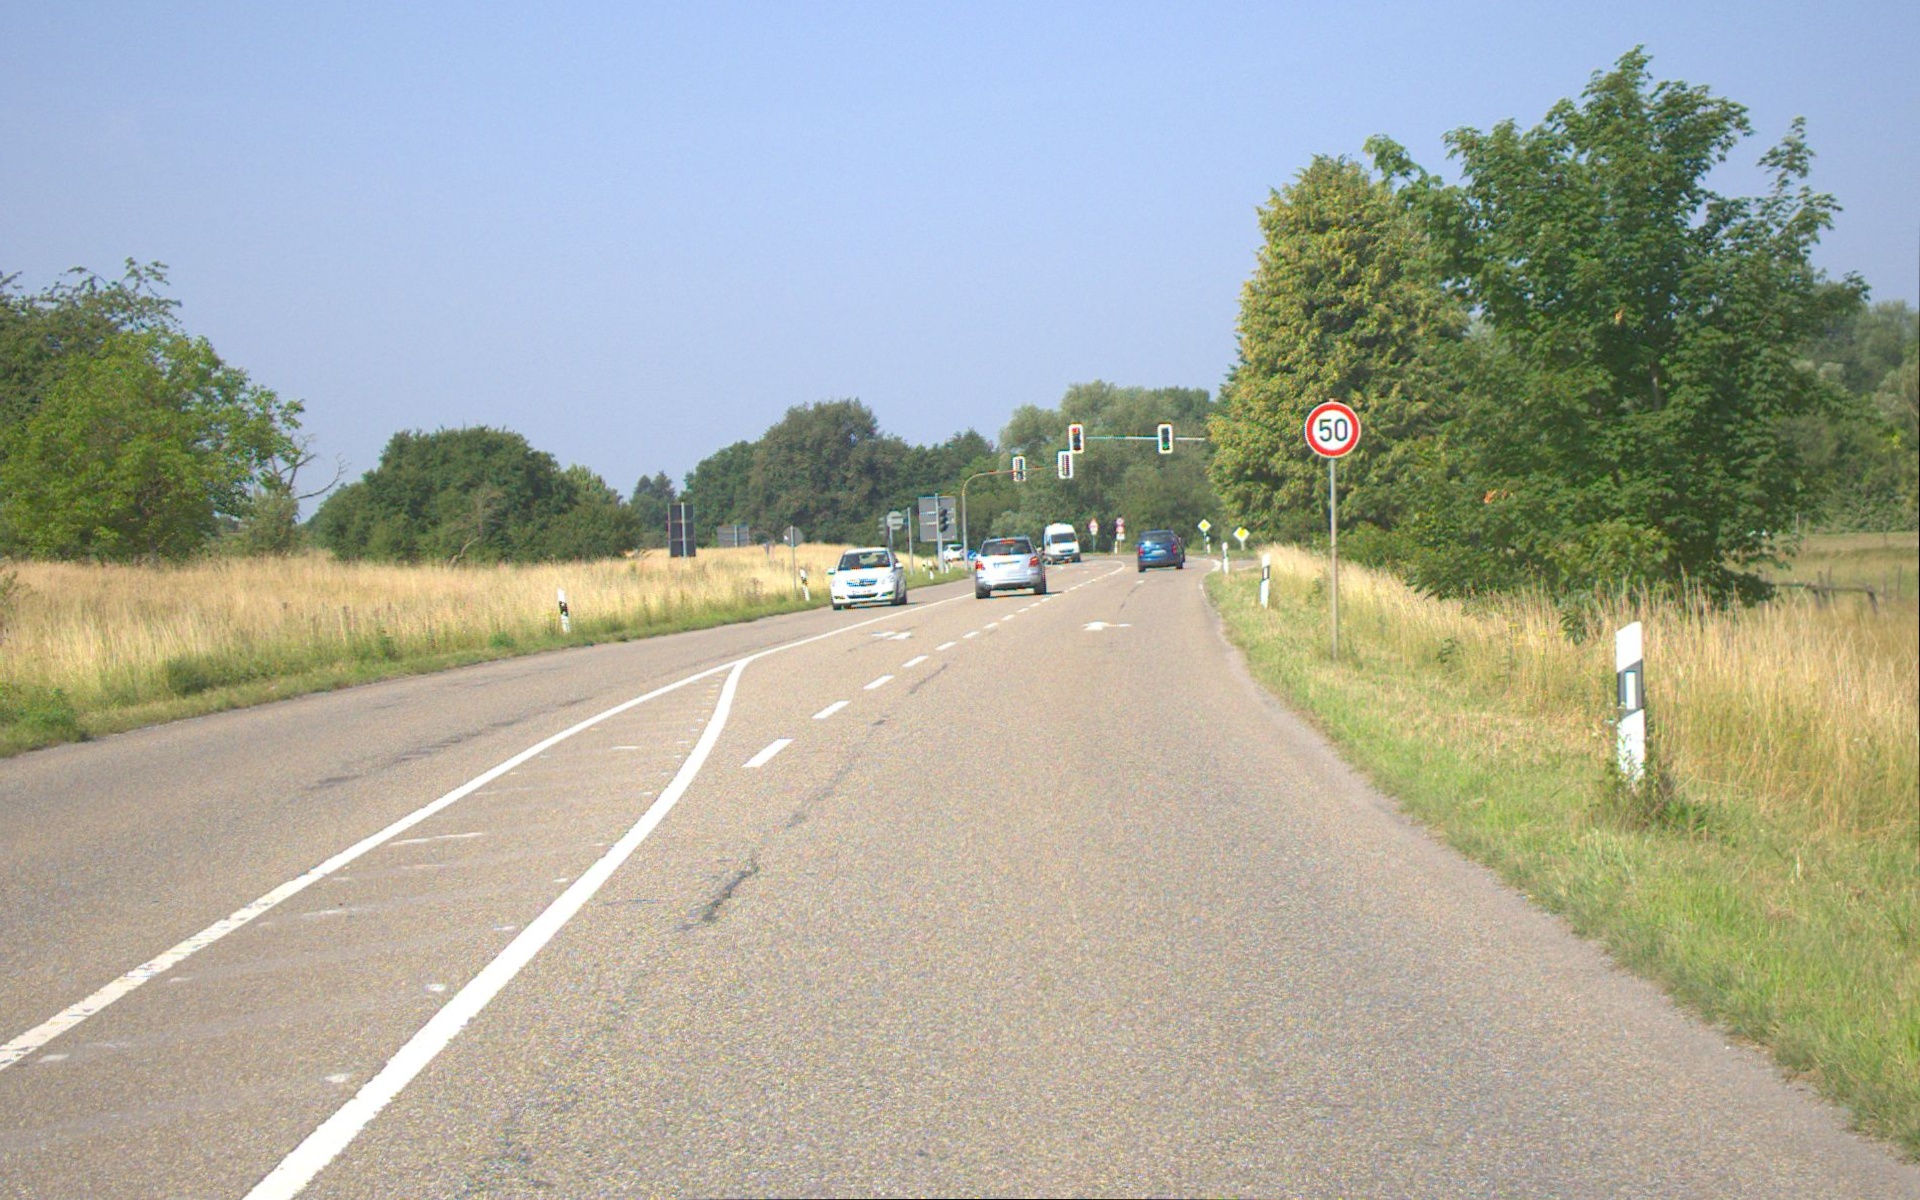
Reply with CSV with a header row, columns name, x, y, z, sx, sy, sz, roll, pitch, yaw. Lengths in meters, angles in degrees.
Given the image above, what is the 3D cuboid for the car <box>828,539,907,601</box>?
name,x,y,z,sx,sy,sz,roll,pitch,yaw
car,-2.465,-0.831,92.484,1.812,1.579,4.224,-1,1,3

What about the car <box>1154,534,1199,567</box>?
name,x,y,z,sx,sy,sz,roll,pitch,yaw
car,10.403,-2.378,165.643,1.841,1.546,4.000,1,1,-1

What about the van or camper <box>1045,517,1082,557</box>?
name,x,y,z,sx,sy,sz,roll,pitch,yaw
van or camper,7.126,-4.336,236.153,2.265,2.700,5.261,1,1,5

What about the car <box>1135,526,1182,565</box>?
name,x,y,z,sx,sy,sz,roll,pitch,yaw
car,8.107,-2.232,140.443,1.816,1.515,4.000,-2,1,4

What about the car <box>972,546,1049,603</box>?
name,x,y,z,sx,sy,sz,roll,pitch,yaw
car,1.401,-0.713,94.017,1.899,1.506,4.000,1,1,3
